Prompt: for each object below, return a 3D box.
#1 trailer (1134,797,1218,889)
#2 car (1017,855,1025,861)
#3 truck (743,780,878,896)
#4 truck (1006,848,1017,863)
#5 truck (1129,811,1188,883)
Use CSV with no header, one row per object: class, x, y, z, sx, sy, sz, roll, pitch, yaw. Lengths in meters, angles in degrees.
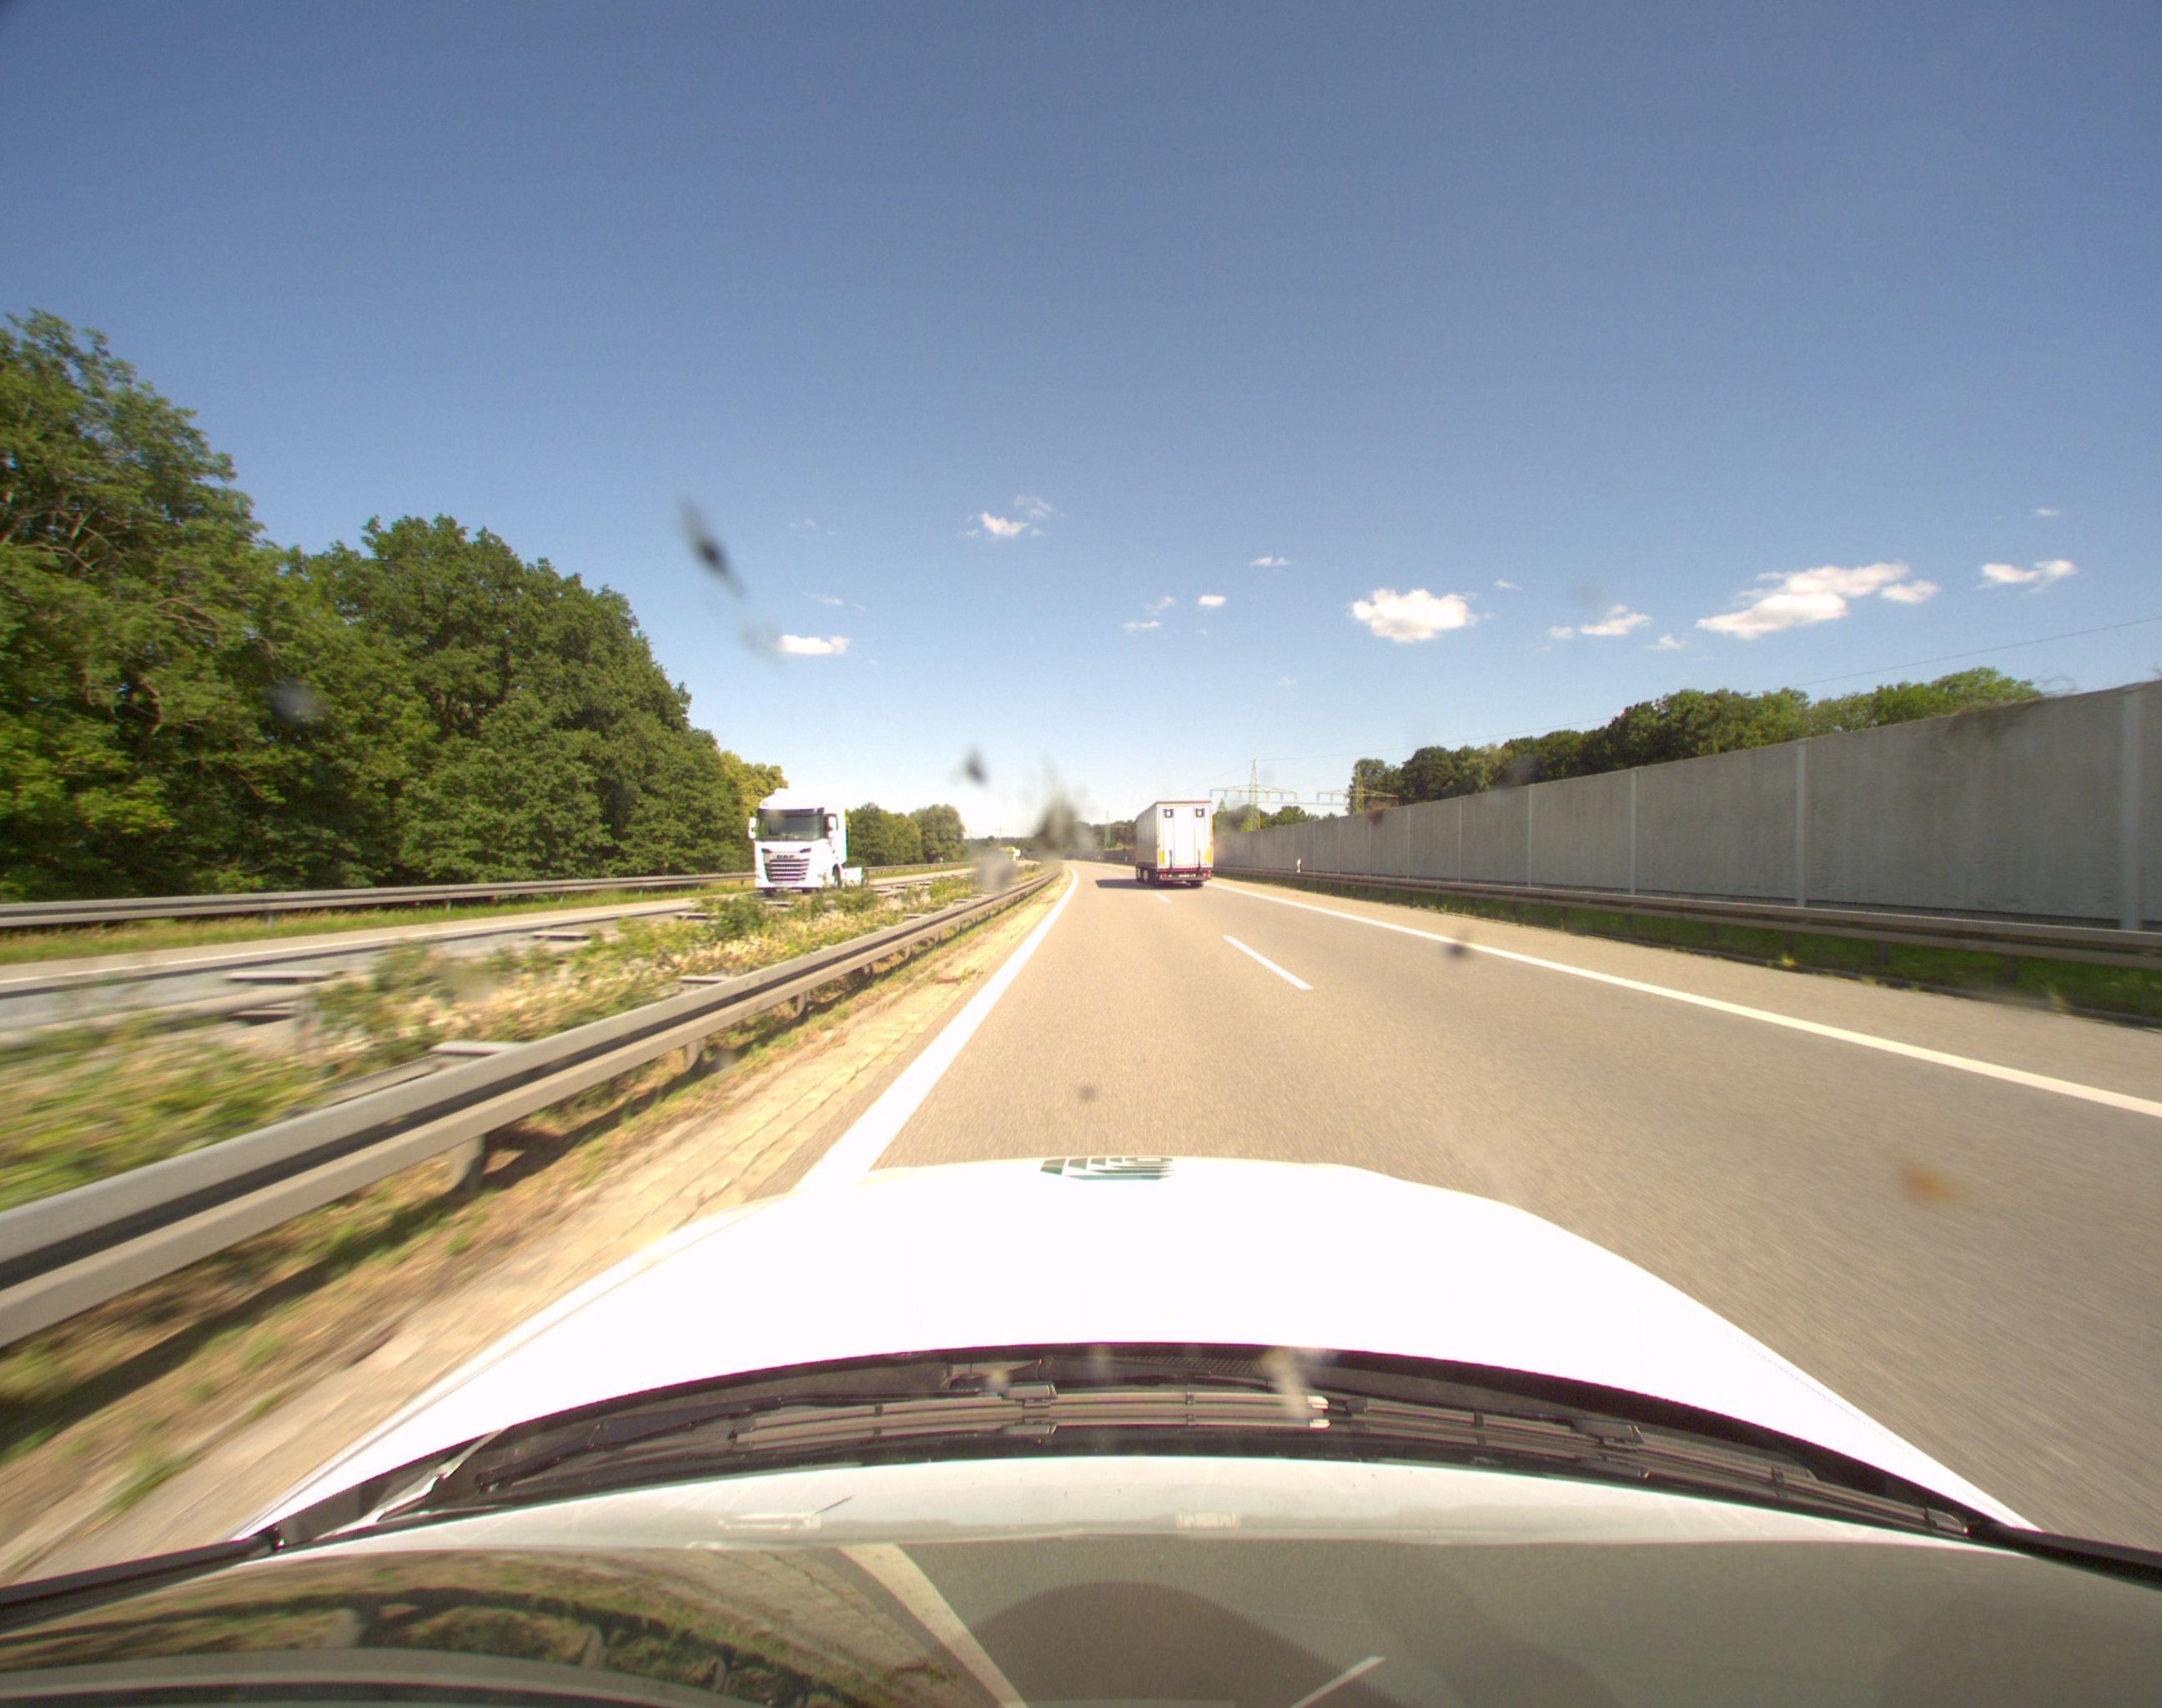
trailer,4.682,-0.445,42.909,2.875,4.066,12.417,-2,0,0
car,-17.844,1.115,242.309,1.991,1.670,3.991,-2,0,-6
truck,-9.952,-0.519,30.816,2.615,3.839,6.811,-2,0,1
truck,-18.585,0.471,216.850,2.755,3.907,8.751,-2,0,-6
truck,4.621,-0.386,49.707,2.821,4.012,6.585,-2,0,0
